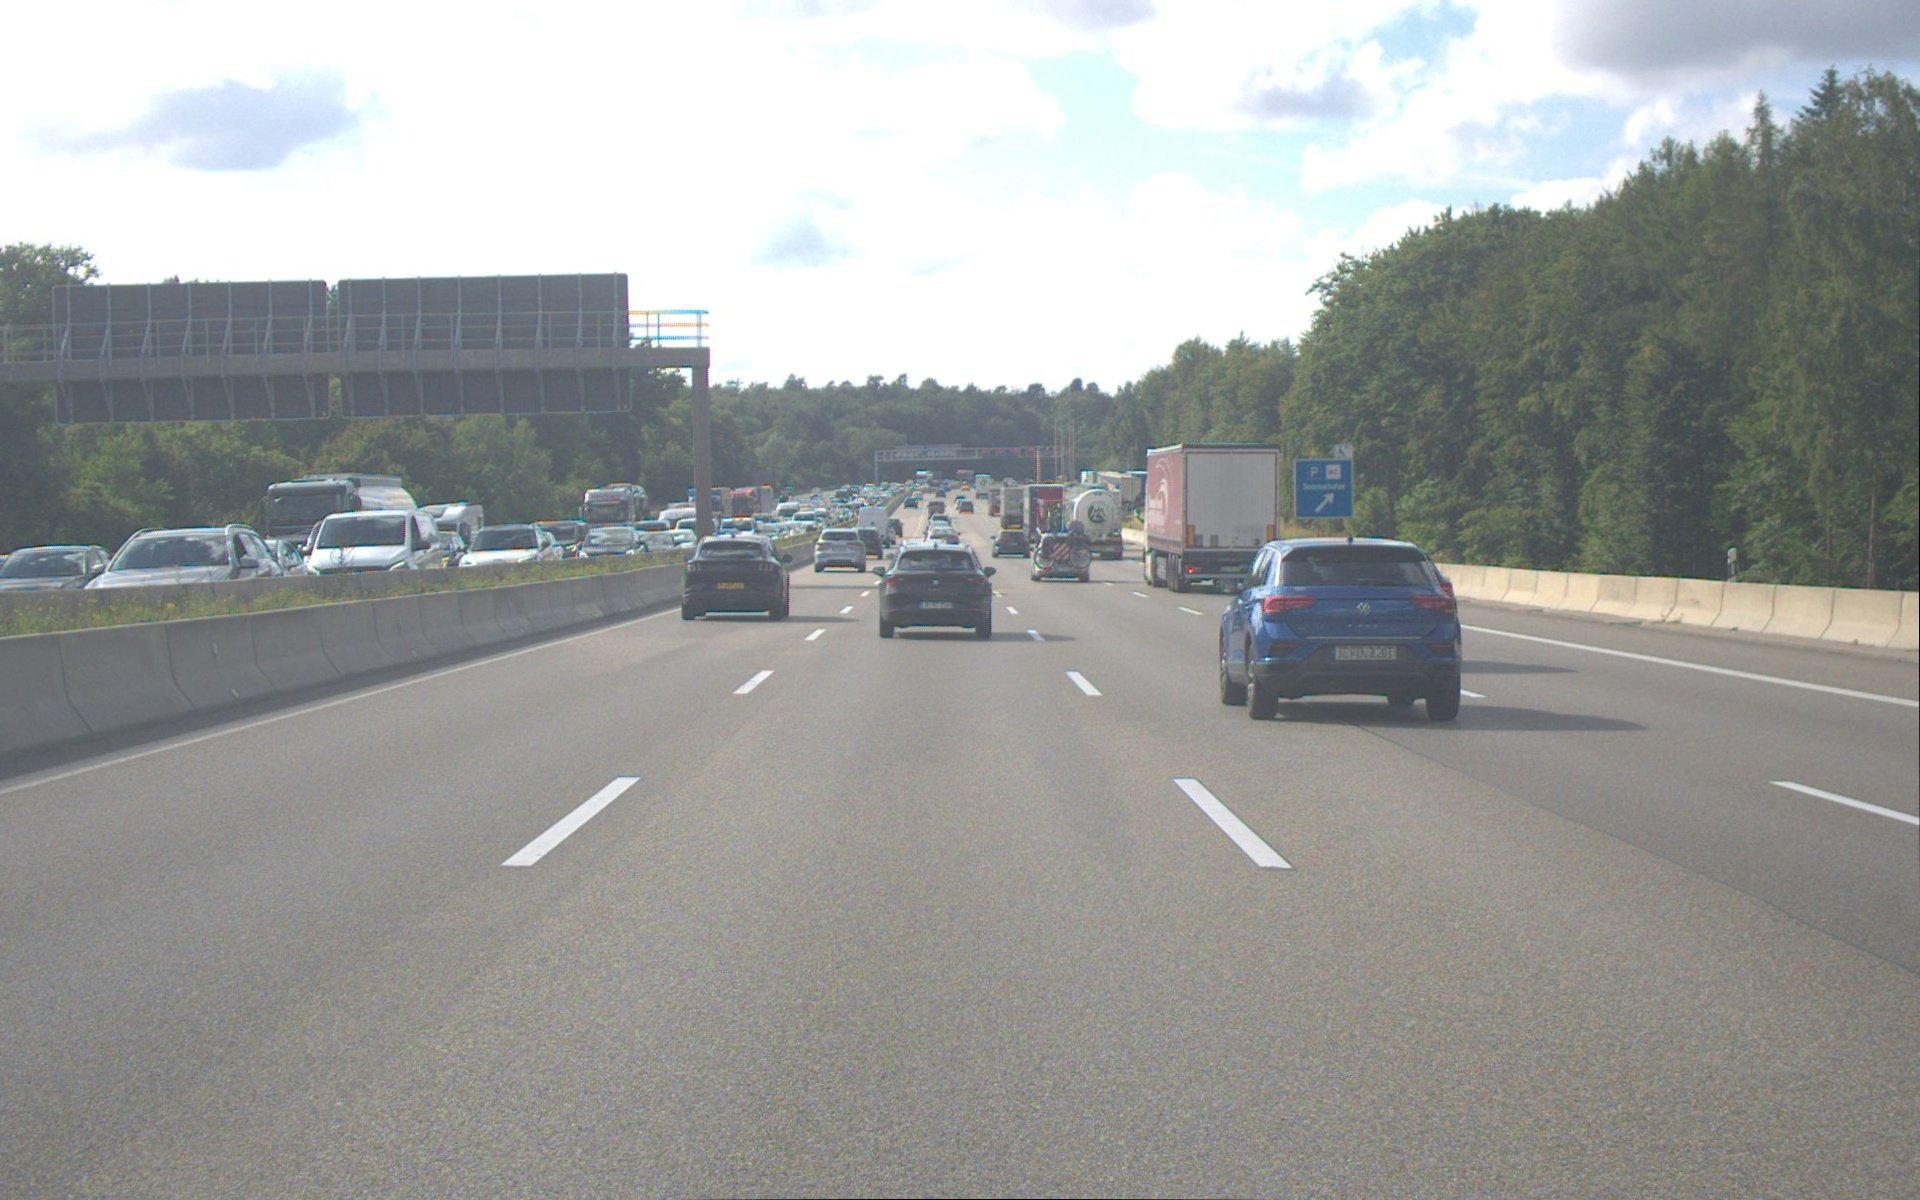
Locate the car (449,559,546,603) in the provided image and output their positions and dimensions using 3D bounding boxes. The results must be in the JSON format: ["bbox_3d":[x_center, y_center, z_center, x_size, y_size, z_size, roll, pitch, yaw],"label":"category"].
[{"bbox_3d":[-10.456,-0.427,77.953,1.643,0.936,4.488,1,0,-1],"label":"car"}]

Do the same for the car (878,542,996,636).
[{"bbox_3d":[-0.397,-0.200,53.953,1.734,1.360,4.001,1,1,-2],"label":"car"}]

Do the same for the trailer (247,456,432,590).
[{"bbox_3d":[-18.906,-2.386,105.712,3.411,3.815,13.262,1,1,-1],"label":"trailer"}]

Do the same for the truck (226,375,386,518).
[{"bbox_3d":[-18.797,-4.360,99.245,3.416,3.887,6.802,-1,1,-1],"label":"truck"}]

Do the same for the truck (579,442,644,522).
[{"bbox_3d":[-18.848,-6.353,186.191,2.853,4.219,5.713,1,1,0],"label":"truck"}]

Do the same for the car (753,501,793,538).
[{"bbox_3d":[-10.651,-4.573,195.918,1.993,2.007,4.410,0,0,0],"label":"car"}]

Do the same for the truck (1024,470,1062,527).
[{"bbox_3d":[5.544,-6.731,229.959,2.358,3.560,11.266,1,0,1],"label":"truck"}]

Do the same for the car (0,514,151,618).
[{"bbox_3d":[-14.069,-0.559,53.868,1.832,1.532,4.243,1,1,-1],"label":"car"}]

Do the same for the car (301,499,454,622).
[{"bbox_3d":[-10.315,-0.732,61.265,1.832,2.055,5.501,-1,1,-1],"label":"car"}]

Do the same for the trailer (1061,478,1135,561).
[{"bbox_3d":[6.861,-4.028,172.786,3.036,4.002,12.246,0,1,-1],"label":"trailer"}]

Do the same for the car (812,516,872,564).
[{"bbox_3d":[-4.505,-2.310,131.595,2.154,1.770,4.000,1,1,0],"label":"car"}]

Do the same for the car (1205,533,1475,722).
[{"bbox_3d":[3.274,0.217,30.452,1.924,1.536,4.645,0,0,1],"label":"car"}]

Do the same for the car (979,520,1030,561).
[{"bbox_3d":[2.264,-3.060,175.771,1.993,2.007,4.001,1,1,-7],"label":"car"}]

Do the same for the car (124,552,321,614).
[{"bbox_3d":[-9.445,-0.240,44.307,1.647,0.722,4.448,1,1,-1],"label":"car"}]

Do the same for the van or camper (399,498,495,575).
[{"bbox_3d":[-18.342,-2.249,123.252,2.325,2.634,7.397,1,0,0],"label":"van or camper"}]

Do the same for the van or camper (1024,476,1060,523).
[{"bbox_3d":[5.651,-6.906,237.239,2.351,3.133,5.710,1,0,1],"label":"van or camper"}]

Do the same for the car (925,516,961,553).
[{"bbox_3d":[-0.956,-3.634,191.721,1.993,2.007,4.000,-1,0,-1],"label":"car"}]

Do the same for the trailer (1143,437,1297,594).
[{"bbox_3d":[7.108,-2.239,96.004,3.038,4.021,13.891,1,0,-1],"label":"trailer"}]

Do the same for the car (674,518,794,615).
[{"bbox_3d":[-4.218,-0.643,64.692,1.993,1.770,4.000,0,1,0],"label":"car"}]

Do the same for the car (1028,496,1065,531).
[{"bbox_3d":[5.163,-5.143,205.398,1.993,2.007,4.000,1,0,-1],"label":"car"}]

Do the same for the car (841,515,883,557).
[{"bbox_3d":[-4.821,-3.125,169.338,1.993,2.007,4.000,1,0,-1],"label":"car"}]

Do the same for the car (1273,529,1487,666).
[{"bbox_3d":[5.134,-0.052,42.702,1.993,1.569,5.278,1,0,0],"label":"car"}]

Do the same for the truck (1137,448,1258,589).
[{"bbox_3d":[7.044,-2.388,102.777,3.080,4.049,6.070,1,0,-1],"label":"truck"}]

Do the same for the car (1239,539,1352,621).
[{"bbox_3d":[6.466,-0.410,66.691,1.715,1.506,4.302,-1,1,-1],"label":"car"}]

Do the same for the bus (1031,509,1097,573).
[{"bbox_3d":[3.348,-1.890,111.094,1.993,2.007,4.000,1,0,0],"label":"bus"}]
